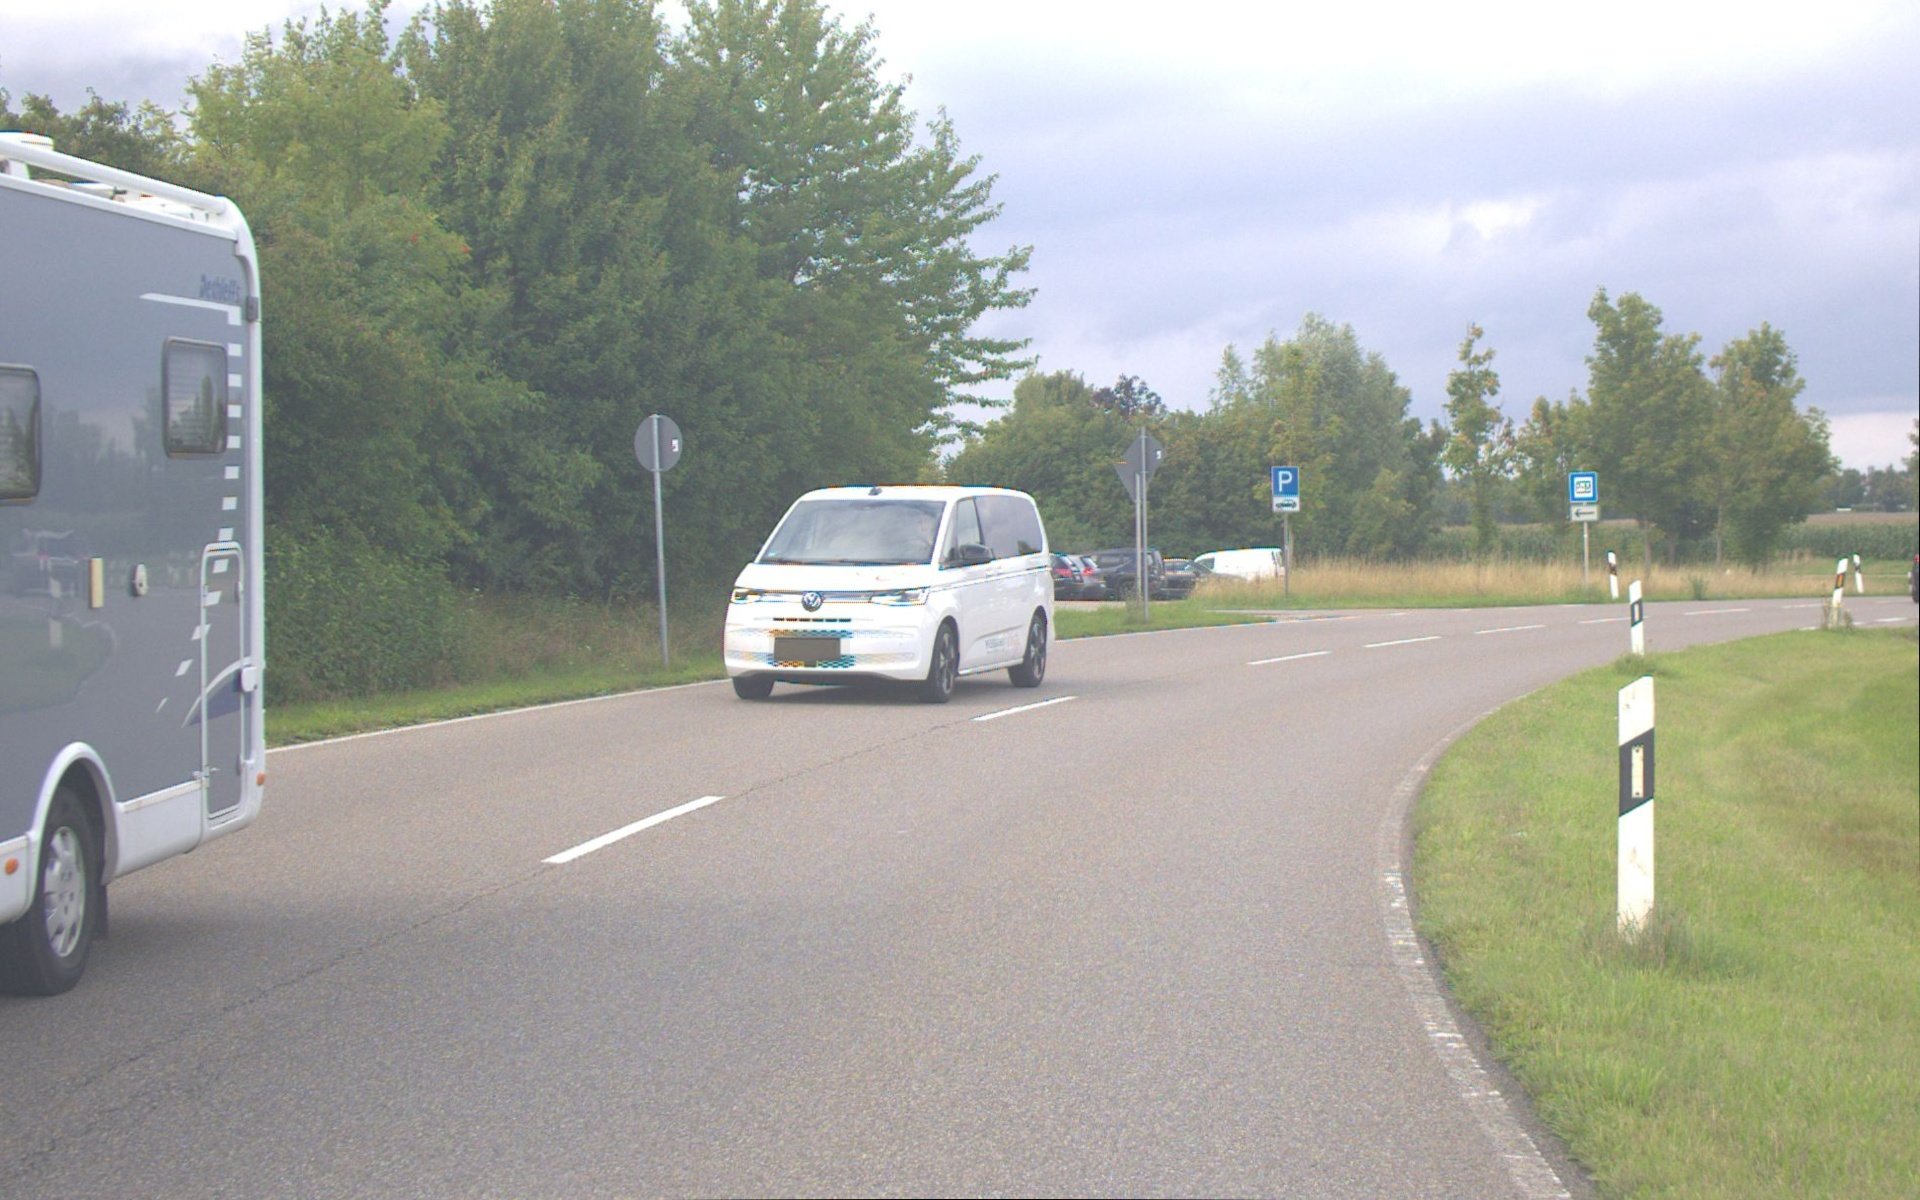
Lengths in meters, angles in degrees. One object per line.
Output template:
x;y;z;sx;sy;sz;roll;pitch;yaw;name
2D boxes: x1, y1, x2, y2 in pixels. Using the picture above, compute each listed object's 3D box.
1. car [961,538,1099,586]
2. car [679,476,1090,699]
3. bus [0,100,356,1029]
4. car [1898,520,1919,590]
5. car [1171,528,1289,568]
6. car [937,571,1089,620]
2.101;-1.128;102.341;3.988;1.375;1.476;0;1;6;car
-0.565;-0.144;31.529;2.115;1.862;5.182;0;1;19;car
-4.022;-0.101;10.196;2.475;2.702;8.430;0;1;4;bus
20.755;-0.944;70.914;1.844;1.412;3.994;0;1;29;car
9.559;-1.843;121.499;3.989;1.375;1.475;0;1;13;car
1.526;-0.124;98.863;3.990;1.375;1.822;0;1;18;car
